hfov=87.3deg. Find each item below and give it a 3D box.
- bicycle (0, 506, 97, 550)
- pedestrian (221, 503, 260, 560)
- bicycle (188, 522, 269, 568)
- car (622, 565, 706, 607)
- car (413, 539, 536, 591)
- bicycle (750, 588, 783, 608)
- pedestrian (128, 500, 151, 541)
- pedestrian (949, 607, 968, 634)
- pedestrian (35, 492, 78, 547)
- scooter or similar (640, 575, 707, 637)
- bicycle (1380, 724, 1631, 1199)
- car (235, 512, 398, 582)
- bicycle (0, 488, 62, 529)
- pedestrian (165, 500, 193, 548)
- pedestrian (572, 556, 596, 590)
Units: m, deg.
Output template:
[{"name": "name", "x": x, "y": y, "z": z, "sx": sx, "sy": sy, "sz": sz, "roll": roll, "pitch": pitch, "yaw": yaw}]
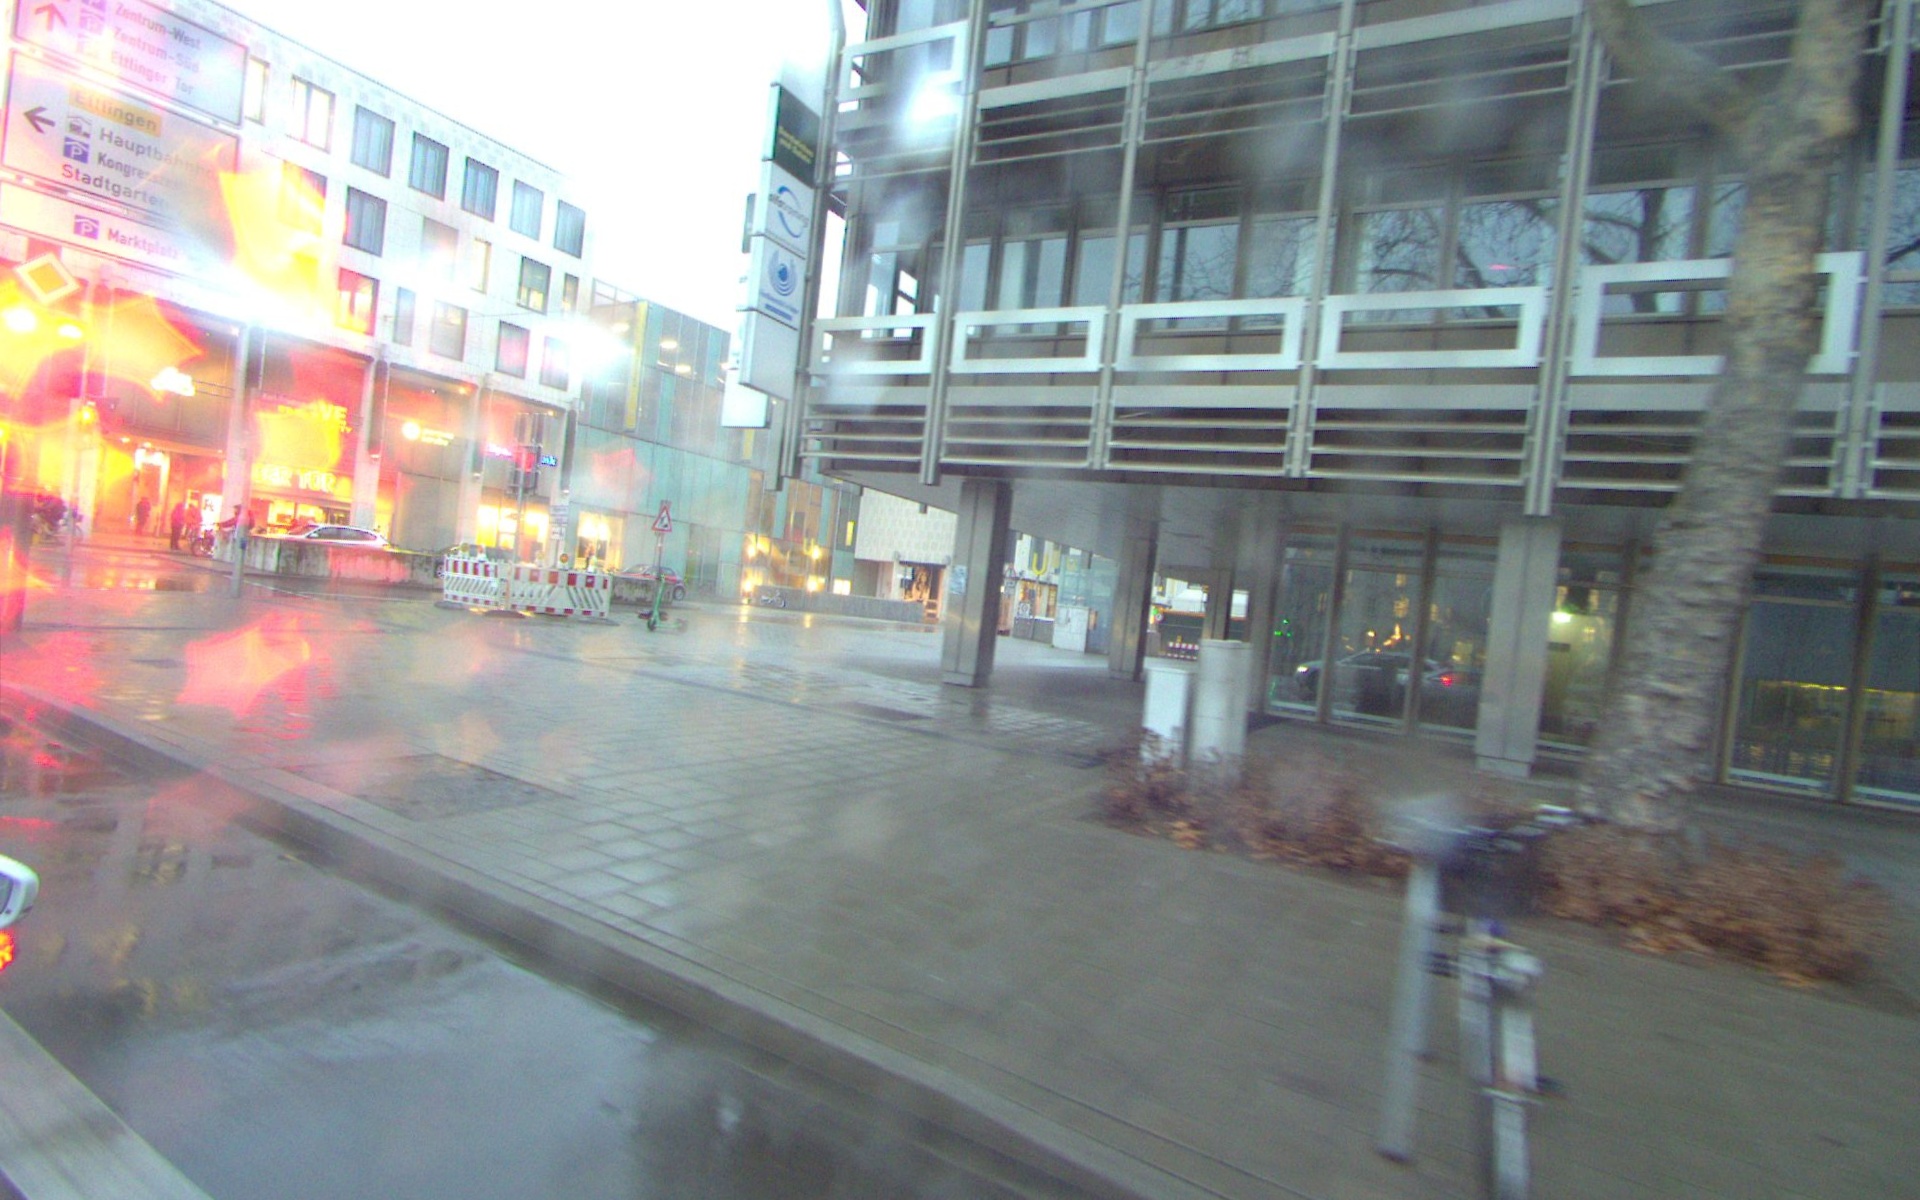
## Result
[{"name": "bicycle", "x": -28.243, "y": -2.220, "z": 31.197, "sx": 0.534, "sy": 1.003, "sz": 2.128, "roll": 6, "pitch": -2, "yaw": 39}, {"name": "pedestrian", "x": -21.619, "y": -2.055, "z": 30.227, "sx": 0.778, "sy": 1.615, "sz": 0.605, "roll": 6, "pitch": 1, "yaw": -43}, {"name": "bicycle", "x": -21.856, "y": -1.636, "z": 30.067, "sx": 1.839, "sy": 1.107, "sz": 0.610, "roll": 7, "pitch": 0, "yaw": -44}, {"name": "car", "x": -14.045, "y": -0.638, "z": 47.861, "sx": 1.648, "sy": 1.602, "sz": 3.574, "roll": 6, "pitch": 0, "yaw": 29}, {"name": "car", "x": -19.127, "y": -1.352, "z": 39.799, "sx": 1.648, "sy": 1.601, "sz": 4.056, "roll": 6, "pitch": 0, "yaw": 29}, {"name": "bicycle", "x": -12.145, "y": -0.139, "z": 62.980, "sx": 2.101, "sy": 1.046, "sz": 0.616, "roll": 7, "pitch": 1, "yaw": 34}, {"name": "pedestrian", "x": -36.984, "y": -3.567, "z": 45.345, "sx": 0.529, "sy": 1.739, "sz": 0.500, "roll": 6, "pitch": 1, "yaw": -21}, {"name": "pedestrian", "x": -0.152, "y": 1.661, "z": 81.794, "sx": 1.005, "sy": 2.037, "sz": 0.906, "roll": 6, "pitch": -1, "yaw": 30}, {"name": "pedestrian", "x": -28.083, "y": -2.486, "z": 31.270, "sx": 0.528, "sy": 1.590, "sz": 0.814, "roll": 7, "pitch": 1, "yaw": 39}, {"name": "scooter or similar", "x": -6.046, "y": 0.121, "z": 21.223, "sx": 1.215, "sy": 1.144, "sz": 0.606, "roll": 7, "pitch": 1, "yaw": 32}, {"name": "bicycle", "x": 1.713, "y": 1.080, "z": 3.241, "sx": 0.428, "sy": 1.163, "sz": 1.753, "roll": 7, "pitch": 2, "yaw": 27}, {"name": "car", "x": -22.046, "y": -1.784, "z": 34.636, "sx": 1.680, "sy": 1.783, "sz": 4.304, "roll": 7, "pitch": 0, "yaw": 35}, {"name": "bicycle", "x": -37.334, "y": -3.683, "z": 39.867, "sx": 0.623, "sy": 1.345, "sz": 2.431, "roll": 7, "pitch": 0, "yaw": 27}, {"name": "pedestrian", "x": -29.081, "y": -2.822, "z": 37.467, "sx": 0.529, "sy": 1.706, "sz": 0.546, "roll": 6, "pitch": 1, "yaw": -21}, {"name": "pedestrian", "x": -19.776, "y": -1.404, "z": 52.908, "sx": 0.697, "sy": 1.650, "sz": 0.795, "roll": 6, "pitch": -1, "yaw": 32}]
